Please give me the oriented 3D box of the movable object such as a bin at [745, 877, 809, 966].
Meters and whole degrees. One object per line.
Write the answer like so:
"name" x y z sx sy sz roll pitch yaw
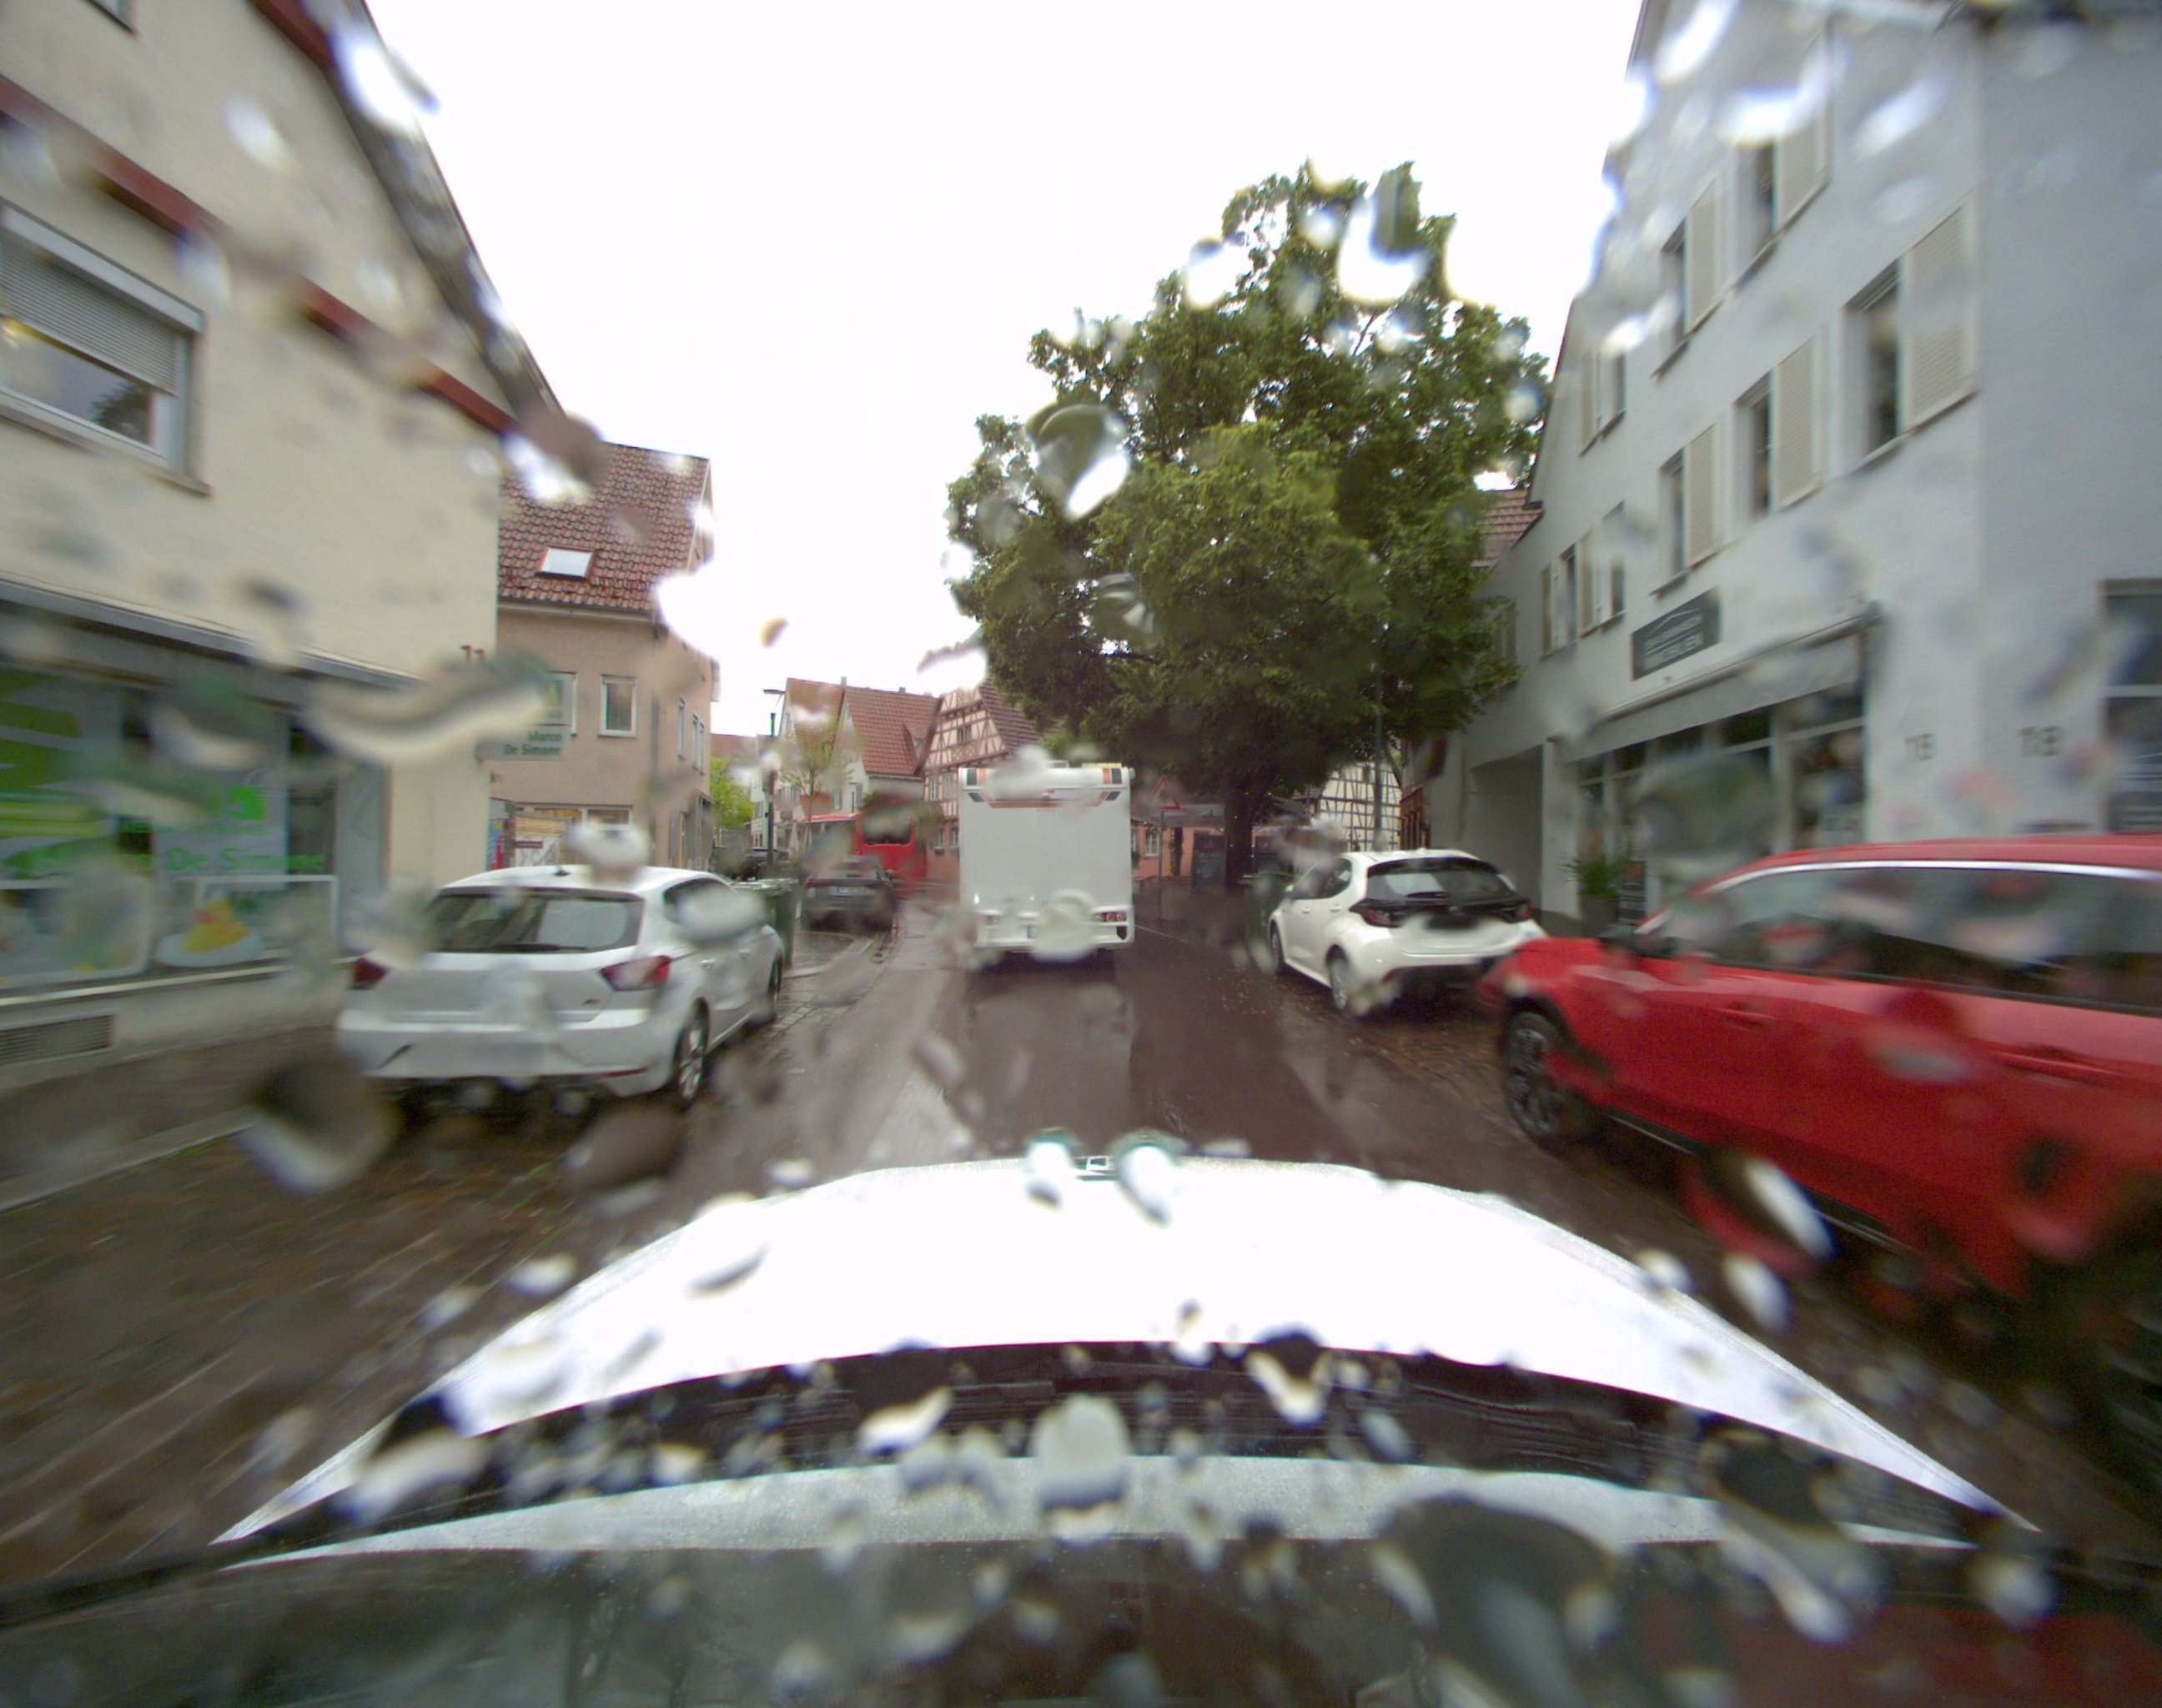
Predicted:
"movable object such as a bin" -4.004 0.871 10.753 0.658 1.109 0.622 0 -1 -7

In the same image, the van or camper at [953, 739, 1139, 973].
"van or camper" -0.661 0.039 13.429 2.322 2.919 6.383 0 -1 -4

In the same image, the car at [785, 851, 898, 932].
"car" -4.952 0.704 17.117 1.997 1.454 4.351 0 -1 -15

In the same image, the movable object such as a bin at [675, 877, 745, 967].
"movable object such as a bin" -4.805 0.866 10.574 0.658 1.109 0.622 0 -1 -7

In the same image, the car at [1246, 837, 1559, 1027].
"car" 3.085 0.654 8.886 1.684 1.539 4.402 0 -1 0

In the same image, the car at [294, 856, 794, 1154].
"car" -3.358 0.749 6.039 1.690 1.423 3.803 0 0 -10

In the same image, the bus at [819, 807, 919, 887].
"bus" -9.521 -0.251 35.990 2.657 3.227 6.539 0 -1 -30

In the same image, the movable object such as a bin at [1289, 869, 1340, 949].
"movable object such as a bin" 3.511 0.812 12.262 0.544 1.149 0.584 0 -1 -8

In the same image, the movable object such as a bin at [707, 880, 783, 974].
"movable object such as a bin" -4.060 0.871 9.882 0.691 1.087 0.545 2 -1 -7

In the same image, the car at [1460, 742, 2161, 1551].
"car" 3.102 0.616 2.878 1.684 1.689 3.957 0 -1 0

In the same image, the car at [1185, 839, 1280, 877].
"car" 7.335 0.169 39.134 4.486 1.631 1.924 0 3 -37

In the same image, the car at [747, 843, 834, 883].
"car" -11.643 0.322 32.478 1.816 1.433 4.575 3 -1 -39

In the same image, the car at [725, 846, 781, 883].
"car" -14.618 0.475 36.158 1.604 1.546 3.936 0 -1 -33

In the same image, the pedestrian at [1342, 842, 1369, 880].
"pedestrian" 11.404 0.292 33.862 0.846 1.518 0.752 0 -1 -42

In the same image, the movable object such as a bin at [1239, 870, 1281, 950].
"movable object such as a bin" 2.683 0.830 12.218 0.476 1.169 0.487 0 -1 -8

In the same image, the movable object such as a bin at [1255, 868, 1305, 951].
"movable object such as a bin" 2.825 0.773 11.584 0.533 1.149 0.499 0 -1 -8

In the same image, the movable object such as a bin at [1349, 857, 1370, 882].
"movable object such as a bin" 12.386 0.698 36.243 0.659 1.093 0.600 0 -1 -35
